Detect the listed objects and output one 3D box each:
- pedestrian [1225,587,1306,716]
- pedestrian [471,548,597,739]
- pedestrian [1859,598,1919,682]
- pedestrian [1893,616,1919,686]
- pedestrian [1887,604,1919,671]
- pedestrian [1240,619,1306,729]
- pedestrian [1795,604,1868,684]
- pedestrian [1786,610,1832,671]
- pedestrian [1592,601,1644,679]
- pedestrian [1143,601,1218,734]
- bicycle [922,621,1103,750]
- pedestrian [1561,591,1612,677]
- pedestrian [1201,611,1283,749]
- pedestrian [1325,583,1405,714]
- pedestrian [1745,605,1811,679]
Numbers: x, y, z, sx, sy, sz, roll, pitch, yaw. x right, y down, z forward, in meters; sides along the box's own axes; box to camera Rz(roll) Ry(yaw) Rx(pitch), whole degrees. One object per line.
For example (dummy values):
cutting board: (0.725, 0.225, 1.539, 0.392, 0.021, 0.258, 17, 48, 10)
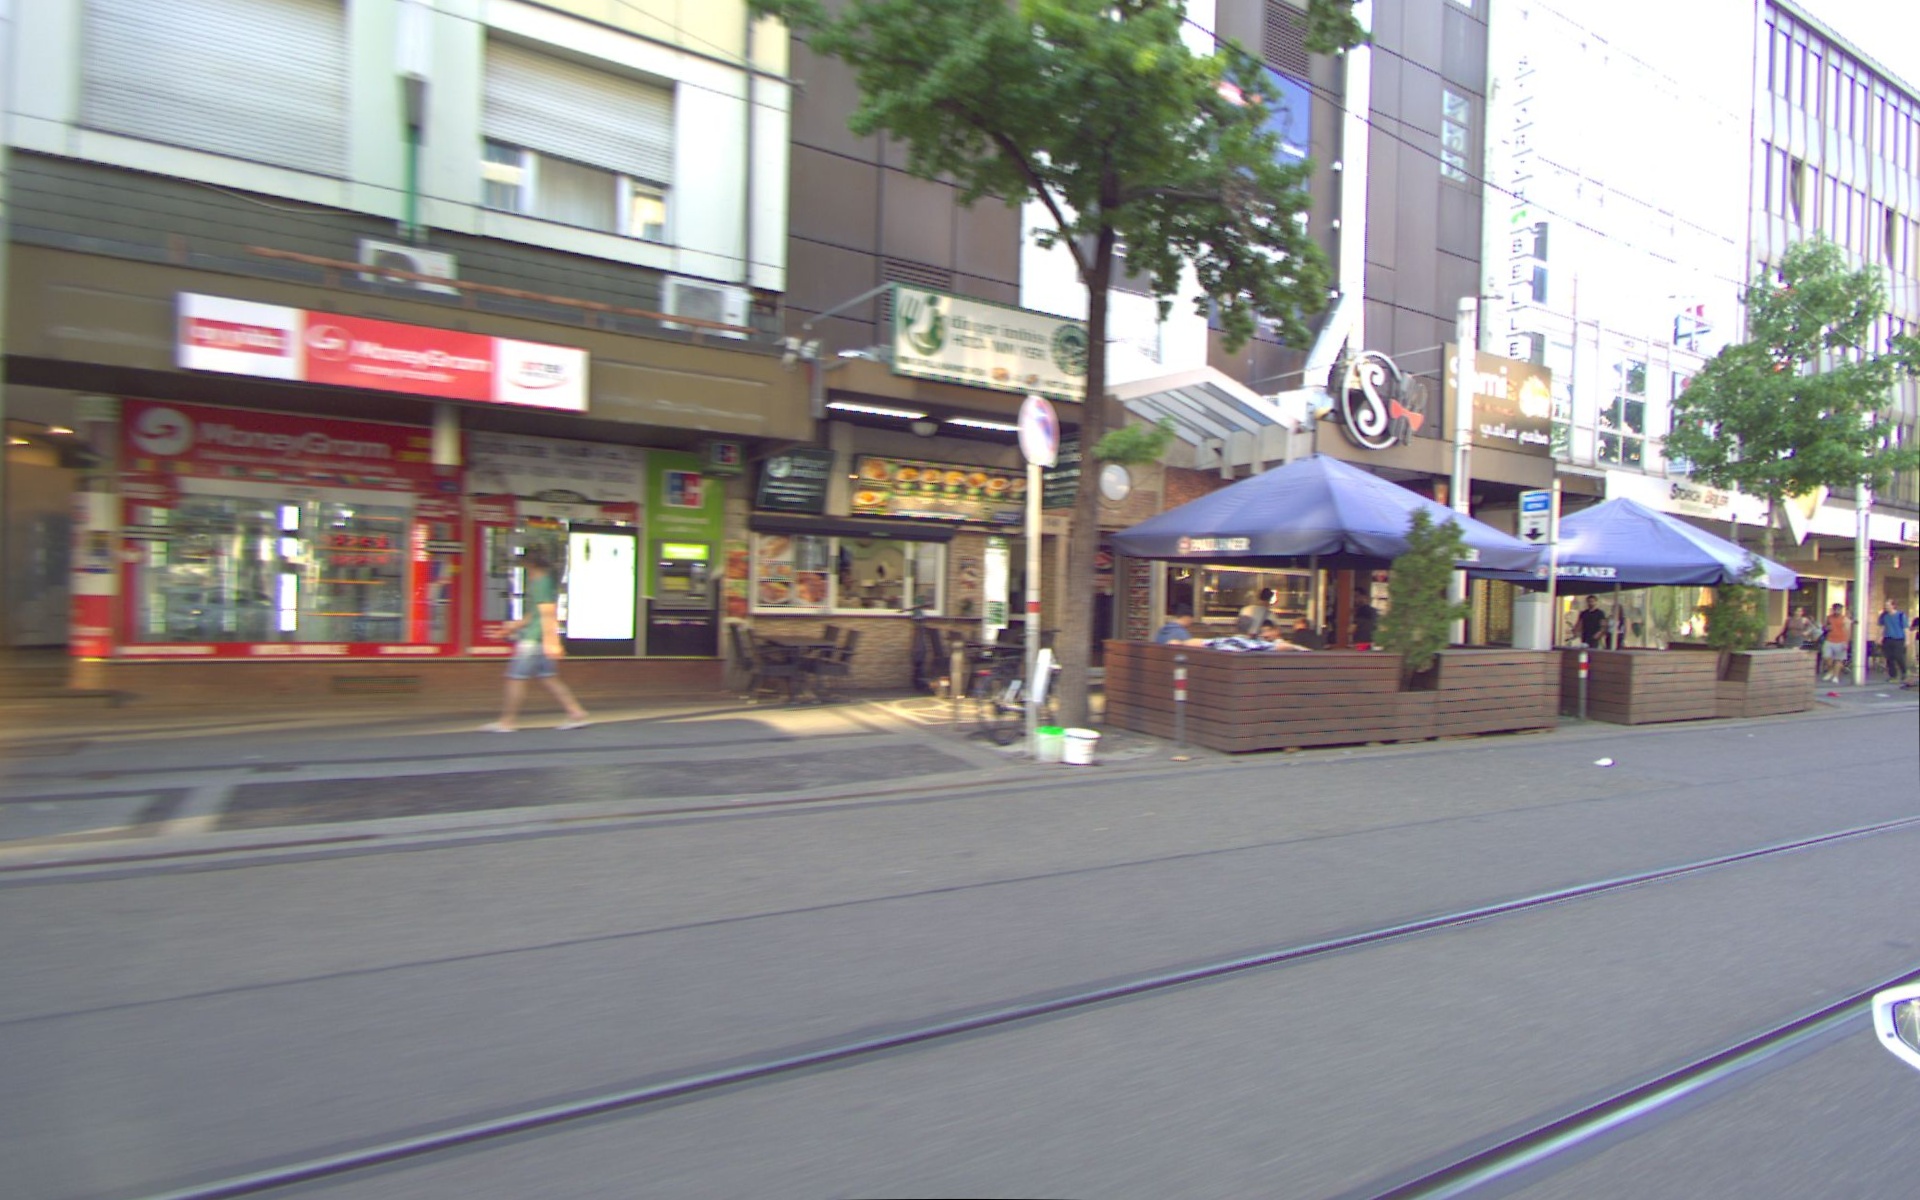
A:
pedestrian: (4.004, 0.657, 13.185, 0.711, 1.629, 0.670, 1, 1, -30)
pedestrian: (-4.048, 0.389, 9.530, 0.993, 1.708, 0.663, 1, 2, -30)
pedestrian: (22.425, 0.945, 24.191, 1.060, 1.949, 0.796, 1, 3, -33)
pedestrian: (21.965, 1.166, 22.985, 0.823, 1.529, 0.619, 1, 2, -29)
pedestrian: (26.907, 1.057, 28.432, 0.922, 1.828, 0.619, 1, 2, -29)
pedestrian: (3.721, 0.865, 11.949, 0.529, 1.244, 0.492, 1, 1, -30)
pedestrian: (19.849, 0.989, 22.886, 0.820, 1.764, 0.851, 2, 2, -10)
pedestrian: (22.418, 1.055, 26.530, 0.799, 1.546, 0.619, 1, 2, -29)
pedestrian: (13.606, 0.818, 20.781, 0.663, 1.553, 0.594, 1, 2, -29)
pedestrian: (2.492, 0.746, 11.360, 0.576, 1.448, 0.547, 1, 1, -30)
bicycle: (0.595, 0.831, 10.524, 0.690, 1.136, 2.074, 5, 3, 42)
pedestrian: (13.276, 0.704, 21.285, 0.663, 1.769, 0.594, 1, 2, -29)
pedestrian: (2.957, 0.821, 10.547, 0.576, 1.374, 0.547, 1, 1, -30)
pedestrian: (5.625, 0.657, 13.958, 0.667, 1.748, 0.714, 1, 1, -31)
pedestrian: (18.990, 0.963, 23.332, 0.748, 1.660, 0.850, 2, 2, -10)
